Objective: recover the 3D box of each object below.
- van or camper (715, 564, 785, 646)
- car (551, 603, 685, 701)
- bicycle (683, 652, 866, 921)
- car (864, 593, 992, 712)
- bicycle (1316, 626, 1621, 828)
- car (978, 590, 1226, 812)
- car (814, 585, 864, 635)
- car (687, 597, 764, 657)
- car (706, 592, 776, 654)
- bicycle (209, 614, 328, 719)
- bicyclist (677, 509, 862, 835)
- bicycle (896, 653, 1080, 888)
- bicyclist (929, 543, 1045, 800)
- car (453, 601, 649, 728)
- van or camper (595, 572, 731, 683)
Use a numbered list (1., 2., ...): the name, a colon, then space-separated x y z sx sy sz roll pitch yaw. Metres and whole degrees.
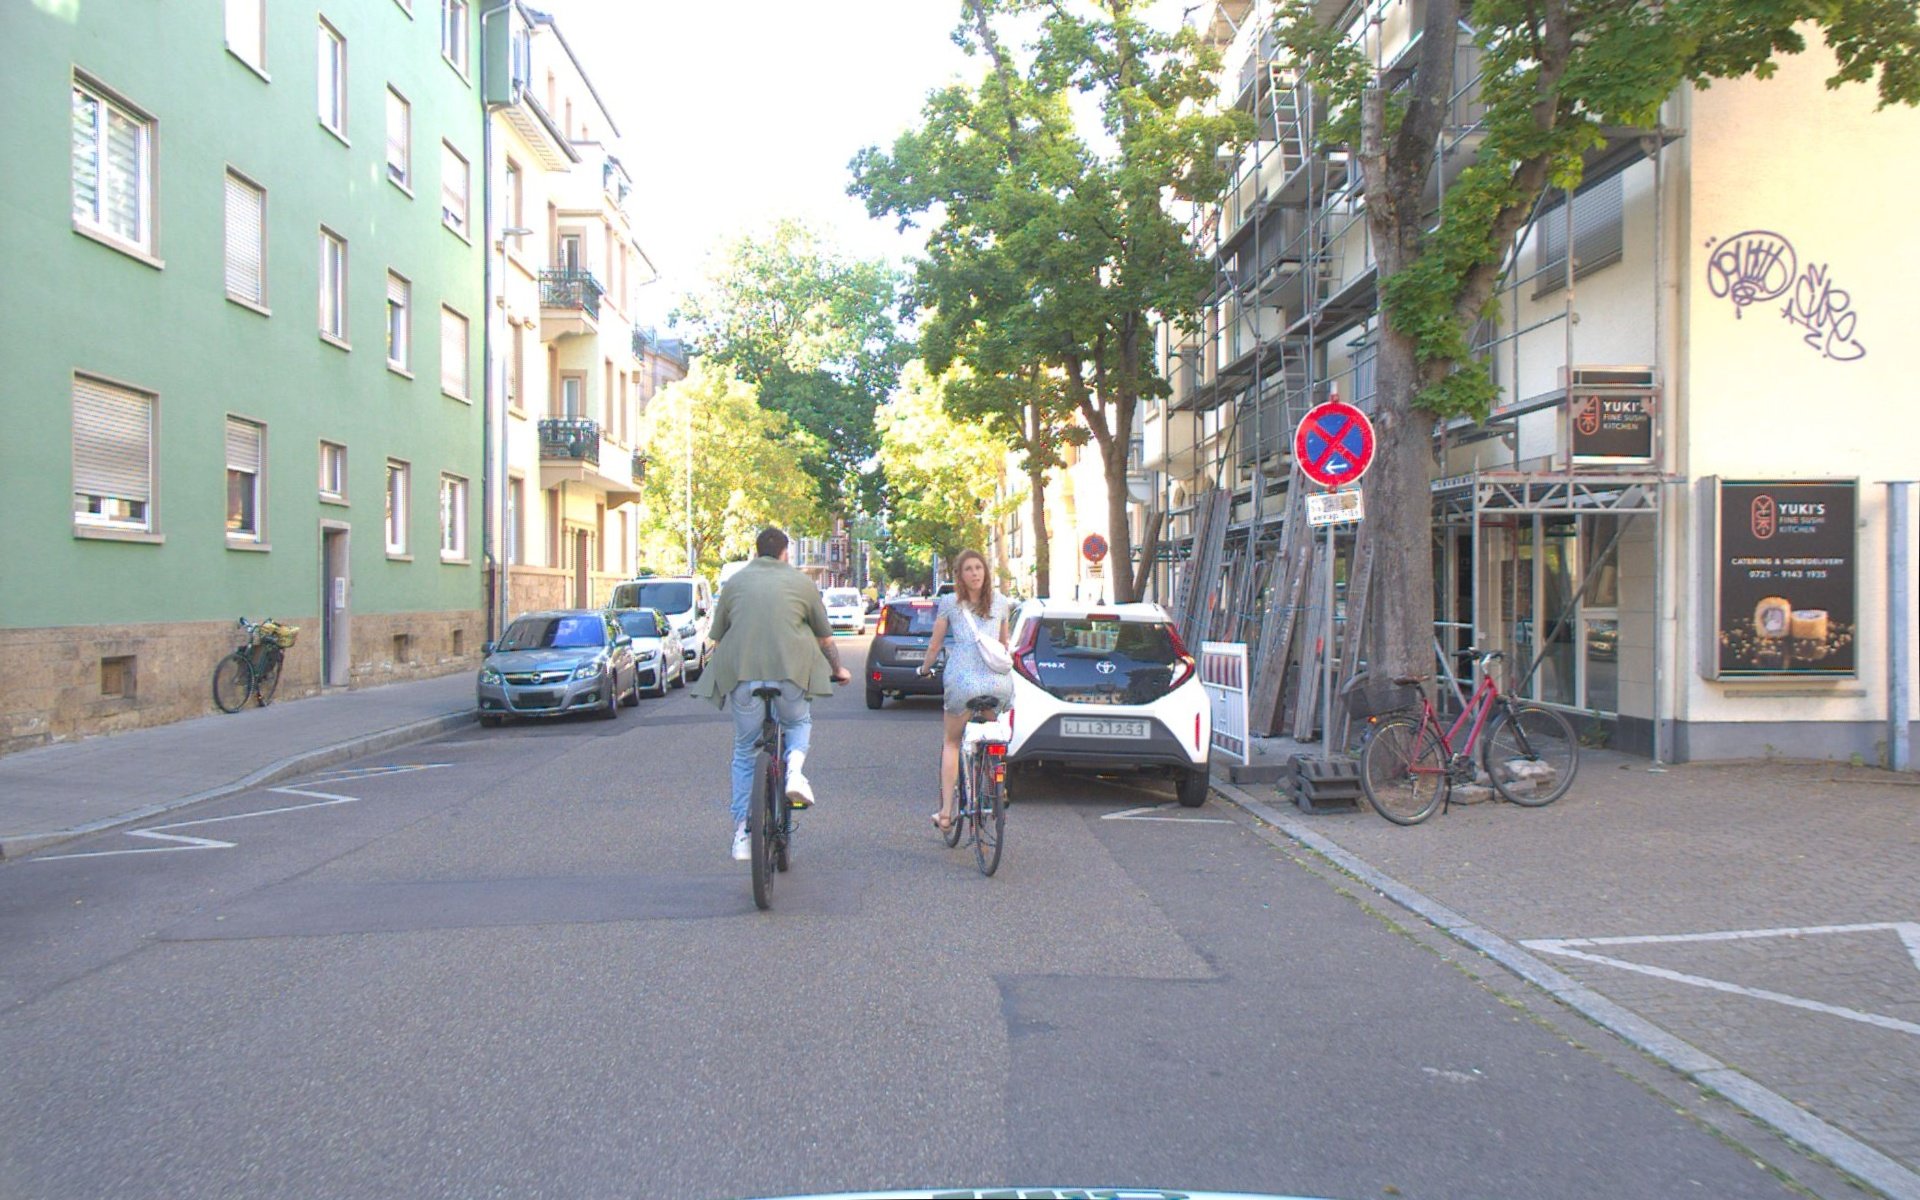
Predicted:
1. van or camper: -6.936 0.131 55.079 1.954 2.598 5.020 0 0 -3
2. car: -5.600 0.810 27.483 1.653 1.479 3.707 -1 0 -4
3. bicycle: -0.925 0.884 8.671 0.822 1.169 2.230 -1 -1 -4
4. car: -0.385 0.689 23.573 1.524 1.560 3.488 -1 0 4
5. bicycle: 3.515 0.837 11.433 1.951 1.185 0.722 -3 1 -21
6. car: 1.055 0.740 13.750 1.641 1.572 3.402 2 0 -2
7. car: -4.741 0.373 65.468 1.746 1.893 4.198 -1 0 -1
8. car: -6.264 0.686 44.519 1.676 1.531 3.998 0 0 -2
9. car: -6.439 0.645 48.985 1.676 1.729 3.998 0 0 -2
10. bicycle: -8.672 0.797 20.832 0.539 1.198 2.278 3 0 -1
11. bicyclist: -0.963 0.372 8.556 0.864 1.589 0.867 -1 -3 -2
12. bicycle: 0.107 0.935 9.810 0.823 1.169 2.230 2 -1 -5
13. bicyclist: 0.140 0.420 9.550 0.610 1.405 0.867 -1 -4 -1
14. car: -5.445 0.792 22.507 1.940 1.481 4.109 -2 0 -5
15. van or camper: -5.913 0.507 33.504 1.953 2.049 4.910 -1 0 -2
